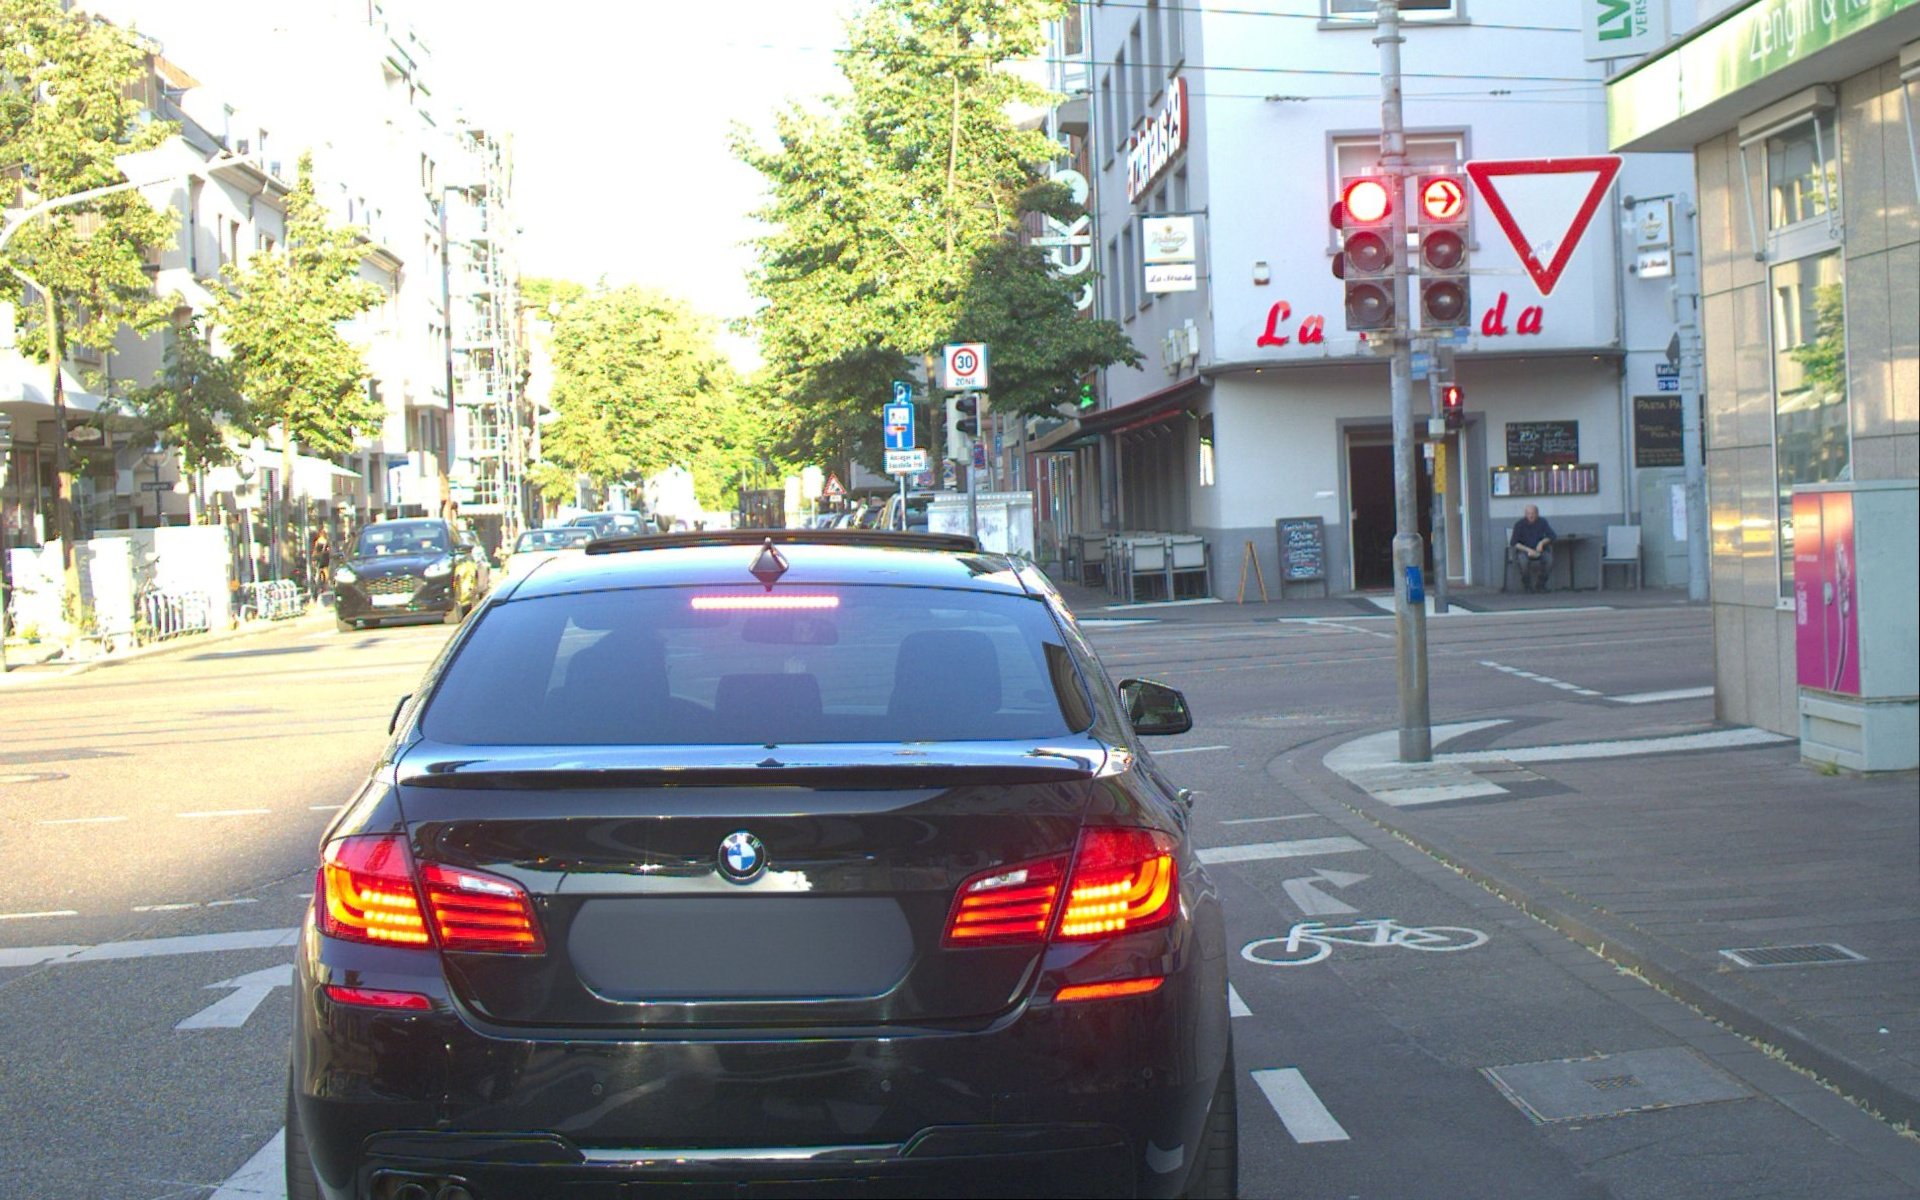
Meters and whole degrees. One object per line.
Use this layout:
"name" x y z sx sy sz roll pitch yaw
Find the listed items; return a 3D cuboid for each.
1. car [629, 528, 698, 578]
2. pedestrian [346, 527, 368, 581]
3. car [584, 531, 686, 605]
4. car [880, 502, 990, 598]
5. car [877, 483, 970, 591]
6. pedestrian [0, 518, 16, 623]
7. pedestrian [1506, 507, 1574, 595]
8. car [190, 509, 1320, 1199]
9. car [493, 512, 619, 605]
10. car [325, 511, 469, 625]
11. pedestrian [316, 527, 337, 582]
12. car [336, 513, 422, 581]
"car" -8.338 -1.336 96.485 1.733 1.288 4.001 -2 1 -7
"pedestrian" -15.968 -1.224 91.040 0.444 1.411 0.525 -2 1 -4
"car" -6.164 -0.623 64.876 1.733 1.288 4.001 -2 1 -7
"car" -0.427 -0.803 55.024 1.625 1.466 3.395 -1 1 -2
"car" -0.675 -1.118 61.420 1.421 1.848 3.053 -1 1 -5
"pedestrian" -15.687 -0.461 55.096 0.823 1.670 0.871 -2 1 -3
"pedestrian" 7.880 -0.673 46.733 0.697 1.153 0.844 -2 1 -3
"car" -0.453 0.563 8.038 1.903 1.535 4.450 0 2 -3
"car" -6.850 -0.720 58.102 1.993 1.437 4.001 -2 1 -7
"car" -8.578 -0.519 52.662 1.993 1.612 4.001 -2 1 -7
"pedestrian" -16.592 -1.197 90.042 0.444 1.411 0.525 -2 1 -4
"car" -13.400 -1.233 79.447 1.733 1.456 4.001 -2 1 -7
